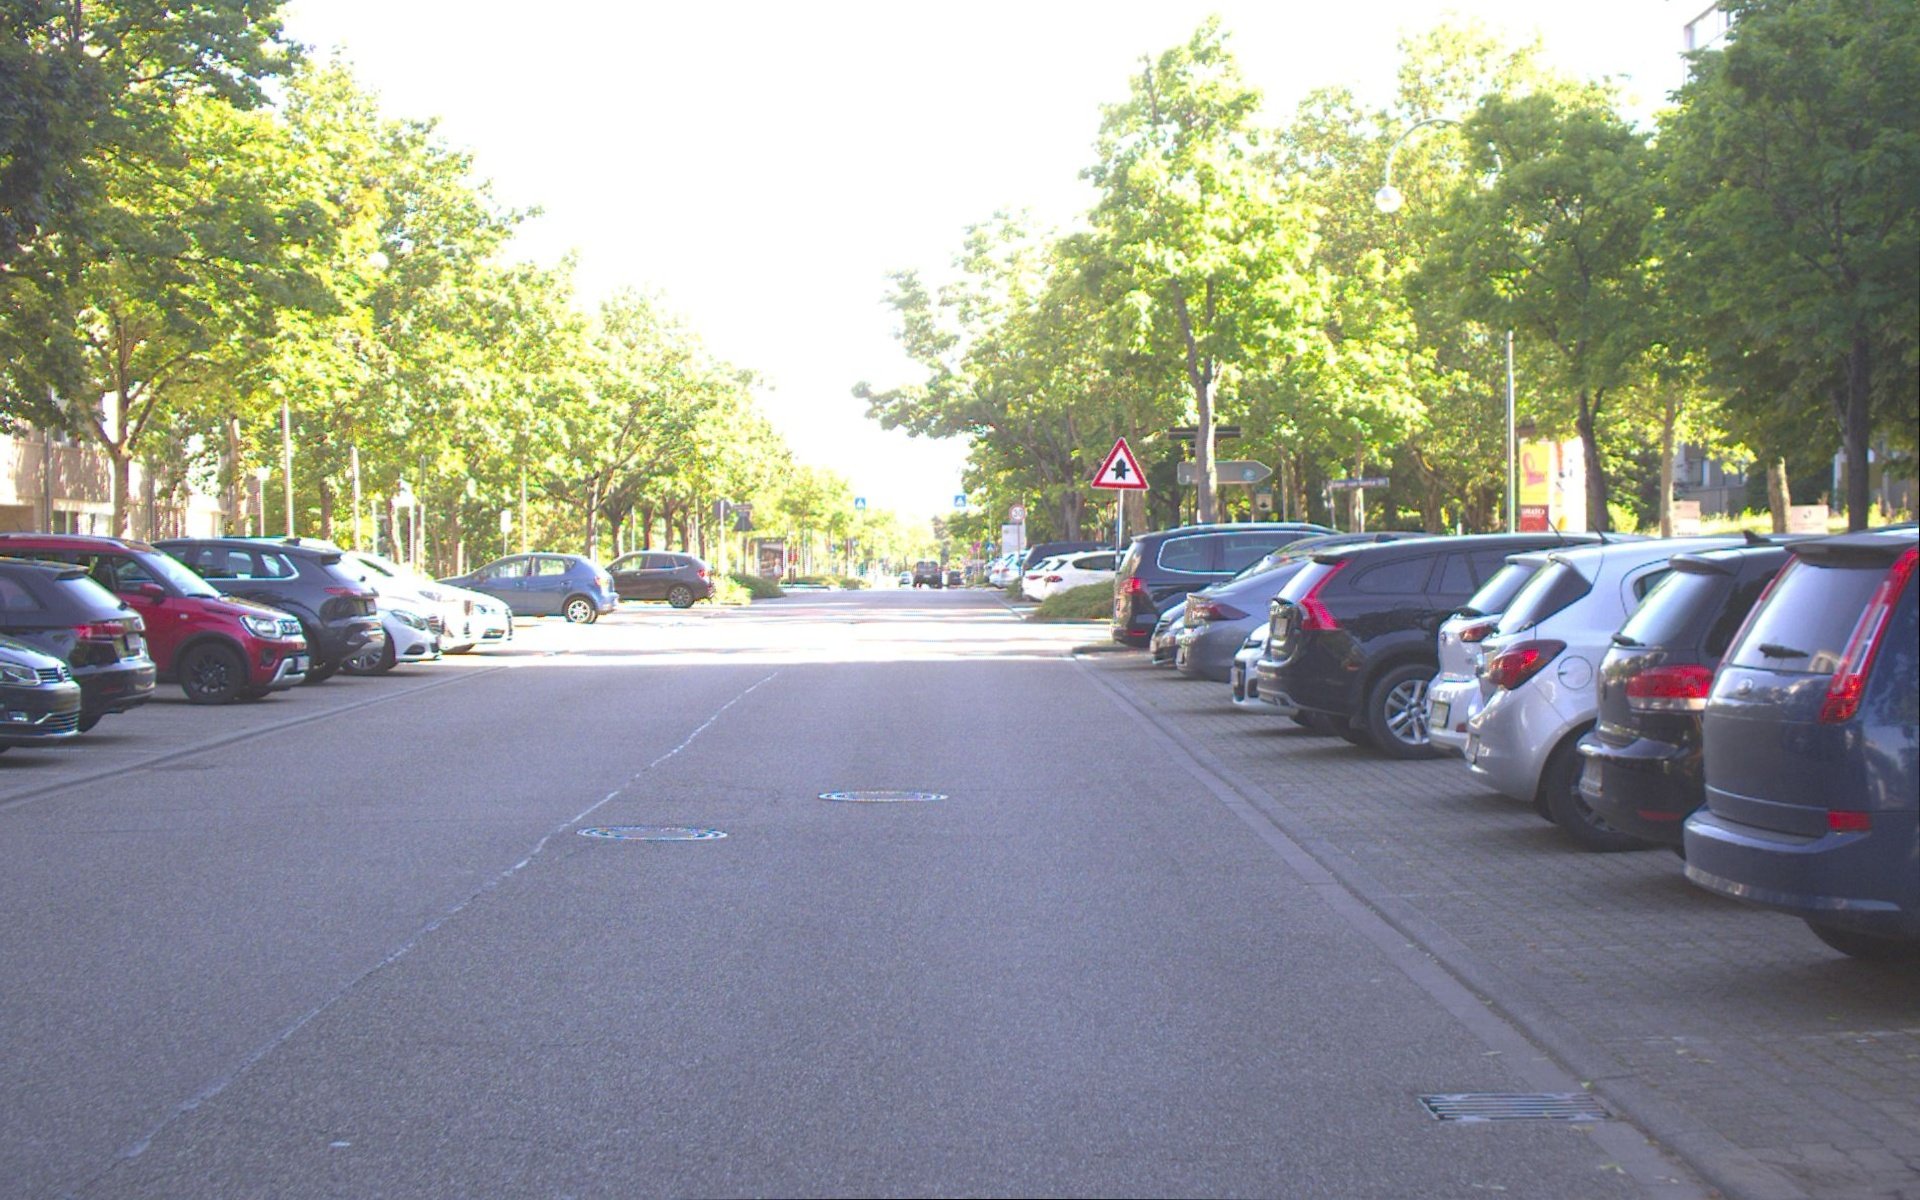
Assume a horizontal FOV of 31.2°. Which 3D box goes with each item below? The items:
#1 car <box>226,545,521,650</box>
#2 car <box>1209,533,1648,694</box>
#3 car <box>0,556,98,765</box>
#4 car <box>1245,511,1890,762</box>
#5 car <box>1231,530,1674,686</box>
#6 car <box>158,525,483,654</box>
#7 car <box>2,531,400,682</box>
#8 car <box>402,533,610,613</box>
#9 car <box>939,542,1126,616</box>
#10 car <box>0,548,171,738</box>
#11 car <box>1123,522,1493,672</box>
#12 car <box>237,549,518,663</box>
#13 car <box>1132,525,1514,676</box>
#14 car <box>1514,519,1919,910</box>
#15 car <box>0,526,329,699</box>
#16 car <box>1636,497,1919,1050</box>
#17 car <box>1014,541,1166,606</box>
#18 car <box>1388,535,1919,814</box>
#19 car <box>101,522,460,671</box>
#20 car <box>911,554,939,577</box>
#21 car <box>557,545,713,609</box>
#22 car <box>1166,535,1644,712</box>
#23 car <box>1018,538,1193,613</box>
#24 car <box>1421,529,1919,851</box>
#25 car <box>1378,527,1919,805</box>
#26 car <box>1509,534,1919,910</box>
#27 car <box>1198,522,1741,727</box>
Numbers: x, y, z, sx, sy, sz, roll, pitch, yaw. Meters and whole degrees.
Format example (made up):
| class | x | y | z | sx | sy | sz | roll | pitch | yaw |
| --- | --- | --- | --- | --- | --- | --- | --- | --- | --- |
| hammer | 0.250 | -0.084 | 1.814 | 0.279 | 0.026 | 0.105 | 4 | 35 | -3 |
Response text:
| class | x | y | z | sx | sy | sz | roll | pitch | yaw |
| --- | --- | --- | --- | --- | --- | --- | --- | --- | --- |
| car | -8.397 | -0.042 | 49.451 | 3.986 | 1.476 | 1.680 | 0 | 1 | -2 |
| car | 4.580 | 0.121 | 33.928 | 4.043 | 1.449 | 1.519 | -1 | 0 | -3 |
| car | -8.222 | 0.361 | 24.005 | 3.986 | 1.408 | 1.666 | 1 | 0 | -2 |
| car | 4.174 | 0.242 | 24.203 | 4.249 | 1.549 | 1.919 | -2 | 1 | 4 |
| car | 4.848 | 0.067 | 34.162 | 4.043 | 1.416 | 1.737 | -1 | 0 | -4 |
| car | -8.595 | -0.150 | 46.423 | 3.987 | 1.648 | 1.860 | -1 | 1 | 2 |
| car | -8.380 | 0.086 | 38.150 | 3.987 | 1.581 | 1.765 | -1 | -1 | 3 |
| car | -8.991 | -0.543 | 68.283 | 3.986 | 1.527 | 1.618 | -1 | 1 | -4 |
| car | 1.601 | -0.478 | 76.745 | 3.986 | 1.619 | 2.000 | 0 | 1 | -5 |
| car | -8.261 | 0.281 | 26.551 | 3.986 | 1.401 | 1.606 | 1 | 0 | -4 |
| car | 3.905 | -0.046 | 38.962 | 3.892 | 1.650 | 1.858 | 0 | 1 | -5 |
| car | -8.317 | 0.075 | 49.379 | 3.892 | 1.606 | 1.858 | 0 | 1 | -6 |
| car | 4.054 | -0.003 | 38.813 | 4.043 | 1.576 | 1.641 | -1 | 0 | -3 |
| car | 4.445 | 0.417 | 14.489 | 3.882 | 1.521 | 1.895 | -1 | 1 | 0 |
| car | -8.168 | 0.118 | 33.928 | 3.541 | 1.651 | 1.761 | 0 | 0 | 2 |
| car | 4.547 | 0.468 | 11.169 | 4.267 | 1.628 | 1.858 | -1 | 1 | -3 |
| car | 3.580 | -0.733 | 95.124 | 3.986 | 1.786 | 2.000 | 0 | 1 | -5 |
| car | 4.487 | 0.378 | 19.605 | 3.752 | 1.444 | 1.880 | -1 | 0 | -3 |
| car | -8.114 | -0.051 | 41.283 | 3.987 | 1.714 | 1.709 | 0 | 1 | -1 |
| car | -2.463 | -2.438 | 241.399 | 1.933 | 1.592 | 4.366 | 0 | 1 | -1 |
| car | -8.784 | -0.634 | 93.180 | 3.987 | 1.678 | 2.000 | -1 | 1 | 1 |
| car | 3.982 | 0.202 | 31.098 | 4.043 | 1.486 | 1.550 | -1 | 0 | -3 |
| car | 3.481 | -0.592 | 82.971 | 3.986 | 1.786 | 2.000 | 0 | 1 | -5 |
| car | 4.218 | 0.397 | 16.982 | 3.635 | 1.462 | 1.633 | -1 | 1 | 0 |
| car | 4.462 | 0.337 | 19.685 | 3.866 | 1.463 | 1.967 | -1 | 1 | 0 |
| car | 4.363 | 0.446 | 14.612 | 3.740 | 1.462 | 1.910 | -1 | 1 | 1 |
| car | 4.056 | 0.172 | 27.643 | 4.043 | 1.585 | 1.550 | 0 | 1 | -7 |
